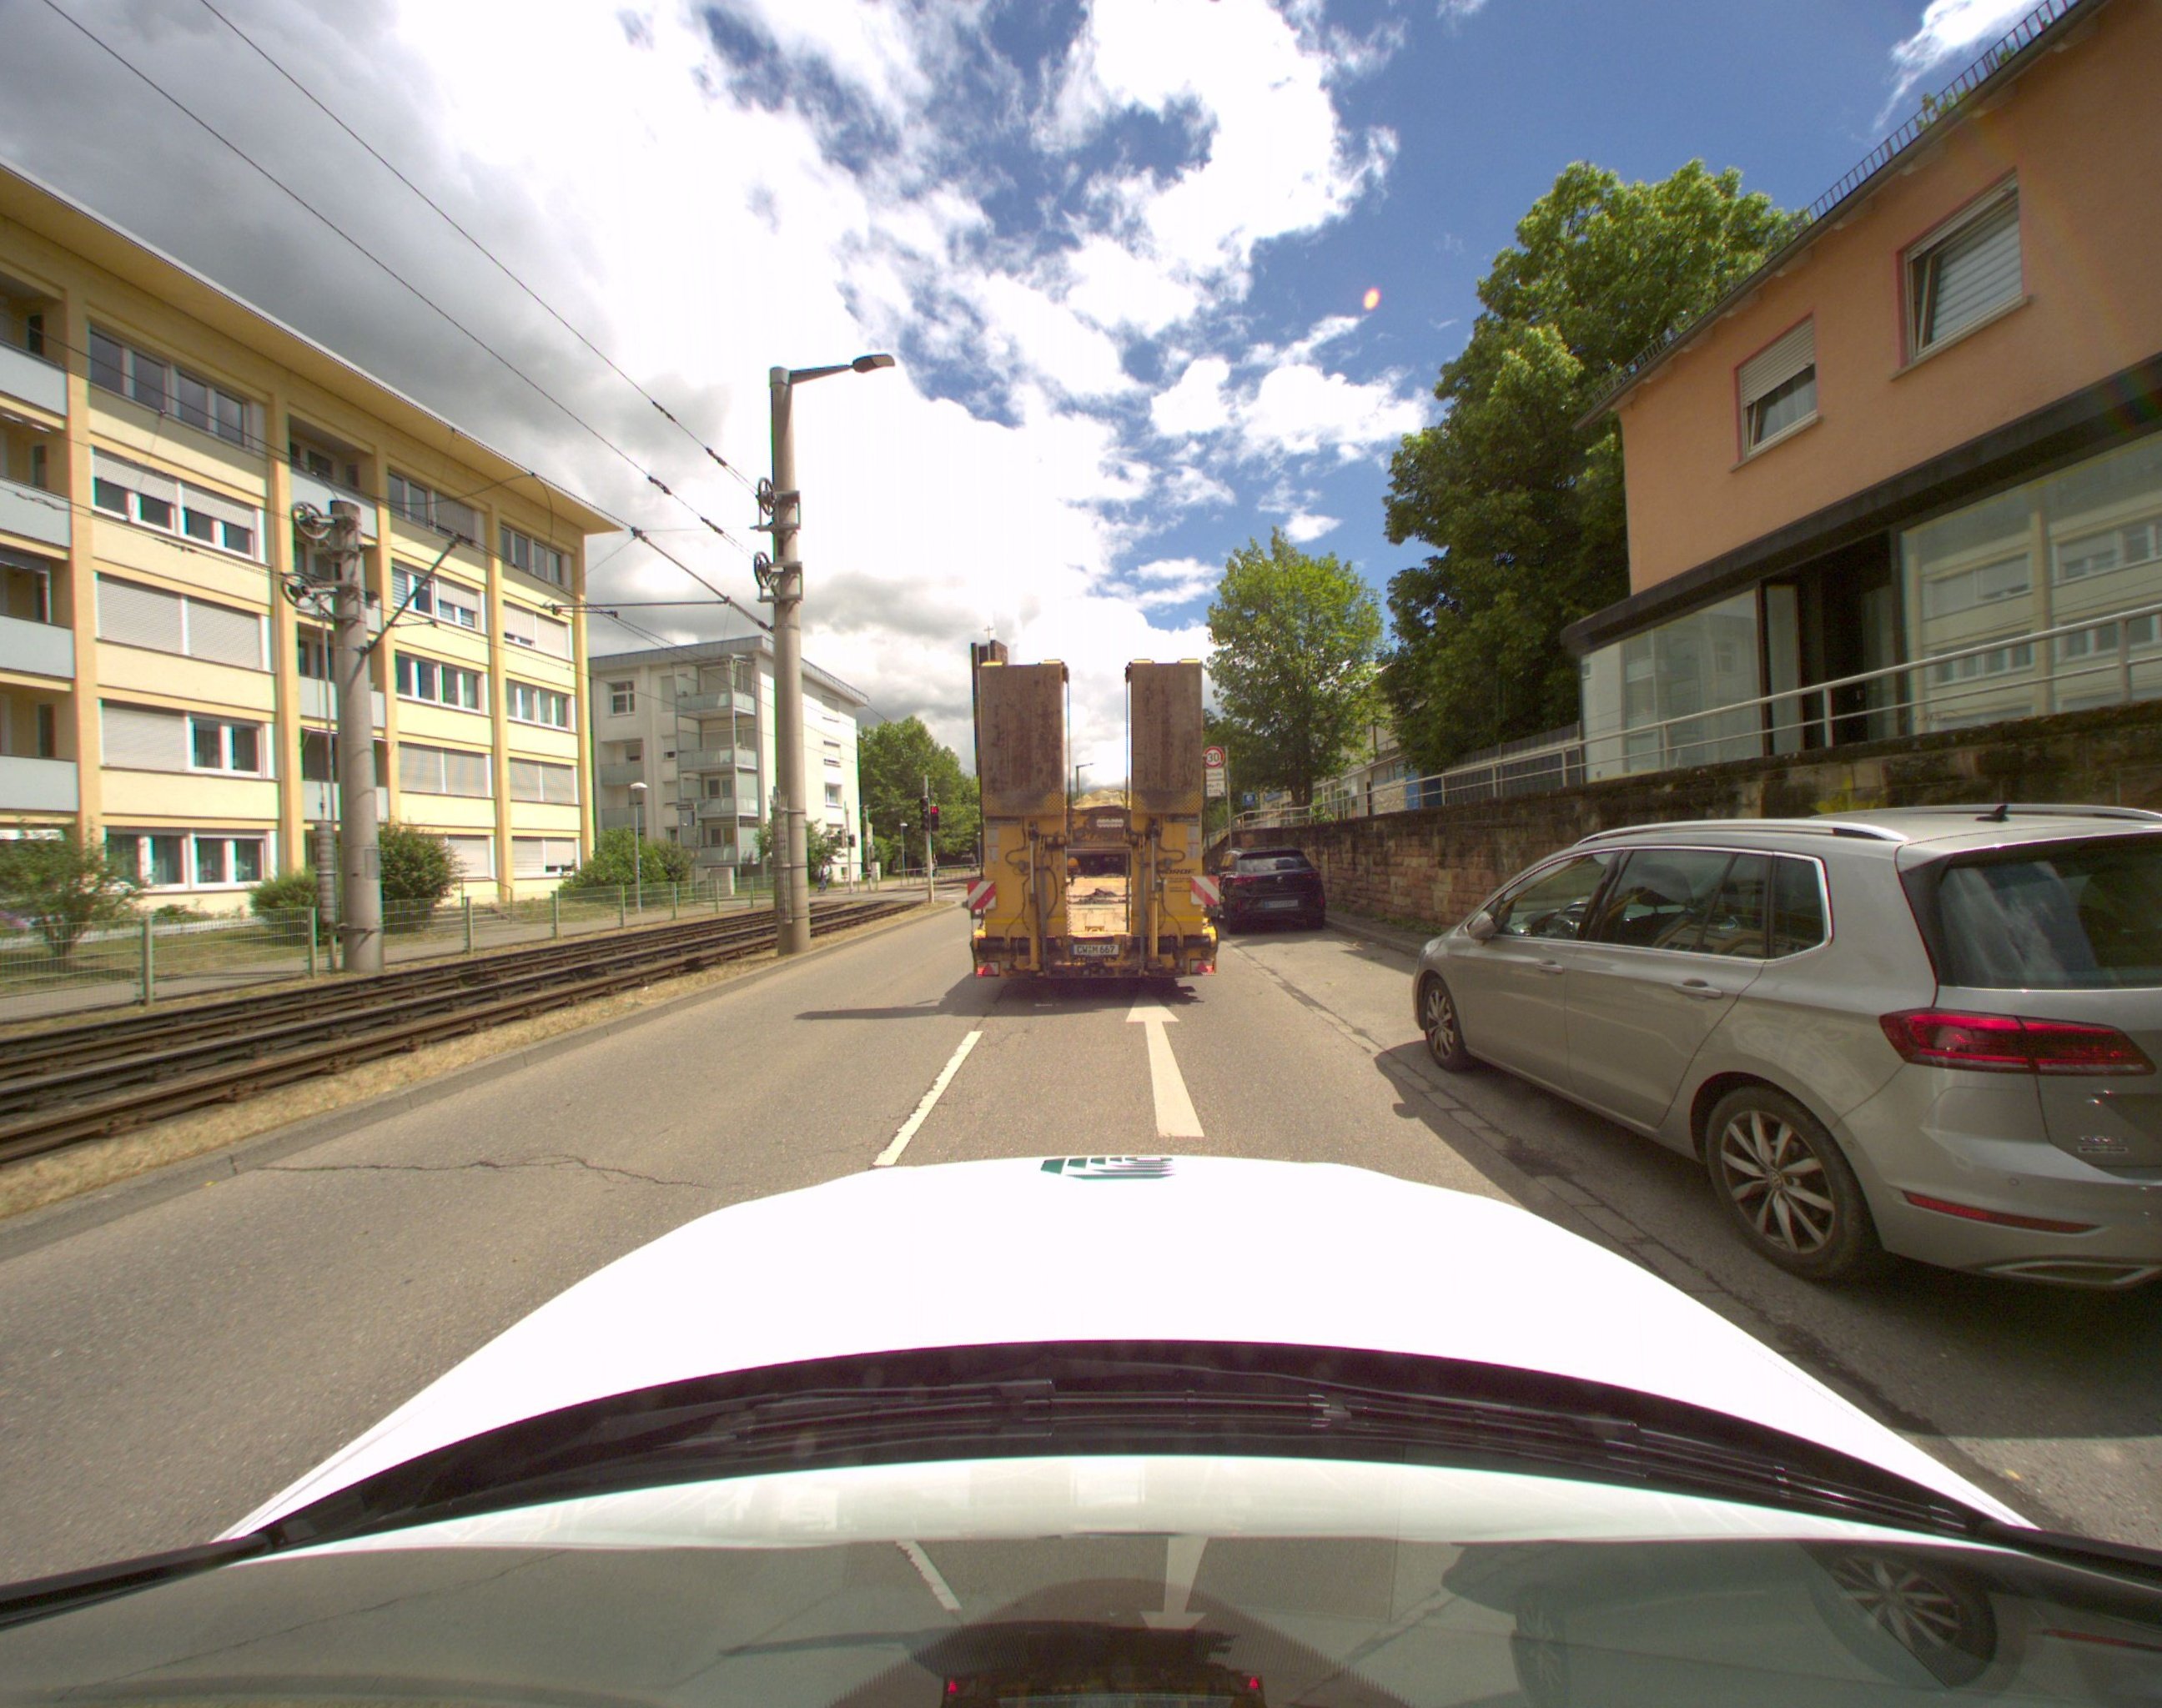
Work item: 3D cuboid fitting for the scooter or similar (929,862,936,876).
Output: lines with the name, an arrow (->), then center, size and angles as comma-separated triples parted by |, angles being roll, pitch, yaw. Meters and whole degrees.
scooter or similar -> -11.850, 1.189, 65.029 | 0.336, 1.057, 0.689 | -2, 0, 7

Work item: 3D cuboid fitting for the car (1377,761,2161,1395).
car -> 3.213, 0.546, 4.242 | 1.783, 1.617, 4.249 | -3, 0, 1

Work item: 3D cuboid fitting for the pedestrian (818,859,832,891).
pedestrian -> -13.008, 1.057, 41.391 | 0.435, 1.580, 0.475 | -3, 1, 7

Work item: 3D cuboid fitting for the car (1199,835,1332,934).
car -> 3.521, 0.534, 16.265 | 1.843, 1.639, 4.003 | -3, 0, 3

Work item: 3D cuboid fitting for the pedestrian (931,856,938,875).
pedestrian -> -11.779, 0.945, 65.667 | 0.346, 1.537, 0.558 | -2, 0, 5

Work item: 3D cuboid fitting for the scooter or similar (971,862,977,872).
scooter or similar -> -10.734, 1.305, 81.403 | 0.504, 0.971, 0.646 | 0, 0, 1

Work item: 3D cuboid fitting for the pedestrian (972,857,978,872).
pedestrian -> -10.699, 1.040, 82.056 | 0.562, 1.513, 0.646 | 0, 0, 1

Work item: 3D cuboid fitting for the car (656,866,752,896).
car -> -19.201, 1.374, 41.544 | 3.963, 1.345, 1.906 | -2, 0, 9

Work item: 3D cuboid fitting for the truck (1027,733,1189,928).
truck -> 0.619, -0.446, 17.845 | 2.931, 3.572, 4.880 | -2, 0, 2

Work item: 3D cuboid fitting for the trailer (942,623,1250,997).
trailer -> 0.352, -0.444, 12.438 | 2.933, 3.601, 8.690 | -2, 0, 3

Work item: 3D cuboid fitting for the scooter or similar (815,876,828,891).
scooter or similar -> -13.052, 1.480, 40.915 | 0.435, 0.747, 0.475 | -2, 1, 7
